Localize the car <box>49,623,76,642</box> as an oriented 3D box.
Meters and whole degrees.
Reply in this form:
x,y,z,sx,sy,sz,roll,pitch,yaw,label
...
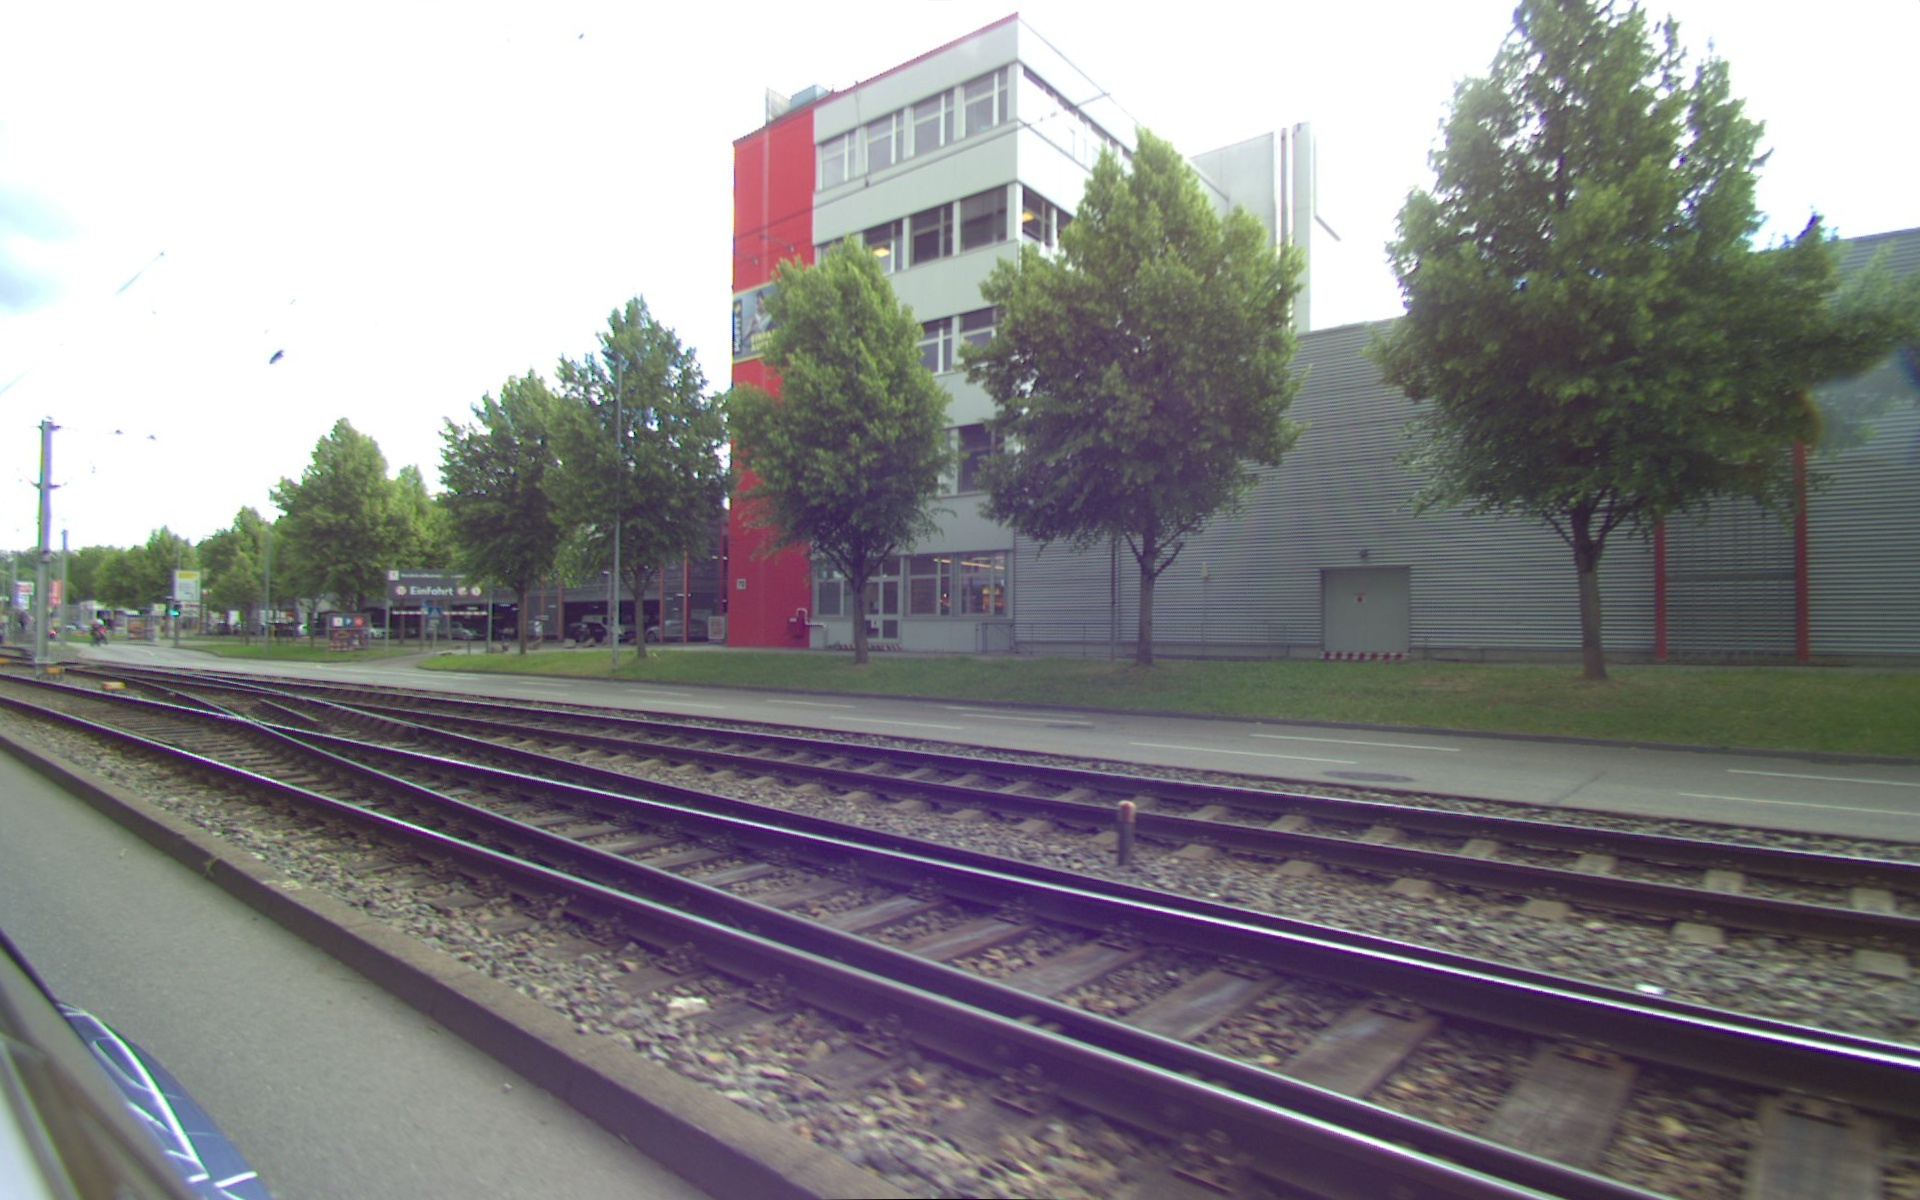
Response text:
x,y,z,sx,sy,sz,roll,pitch,yaw,label
-93.298,3.364,105.164,1.970,2.029,4.004,1,-2,-43,car

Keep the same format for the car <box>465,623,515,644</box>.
x,y,z,sx,sy,sz,roll,pitch,yaw,label
-38.416,2.735,82.720,4.400,1.640,1.974,-1,-2,38,car

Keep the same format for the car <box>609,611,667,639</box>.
x,y,z,sx,sy,sz,roll,pitch,yaw,label
-23.860,1.868,74.903,4.400,2.029,1.974,-1,-2,38,car

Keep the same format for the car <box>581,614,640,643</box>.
x,y,z,sx,sy,sz,roll,pitch,yaw,label
-25.208,2.029,73.000,4.400,2.029,1.974,-1,-2,38,car

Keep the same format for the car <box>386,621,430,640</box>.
x,y,z,sx,sy,sz,roll,pitch,yaw,label
-51.034,2.838,93.544,4.400,1.712,1.974,-1,-2,38,car
